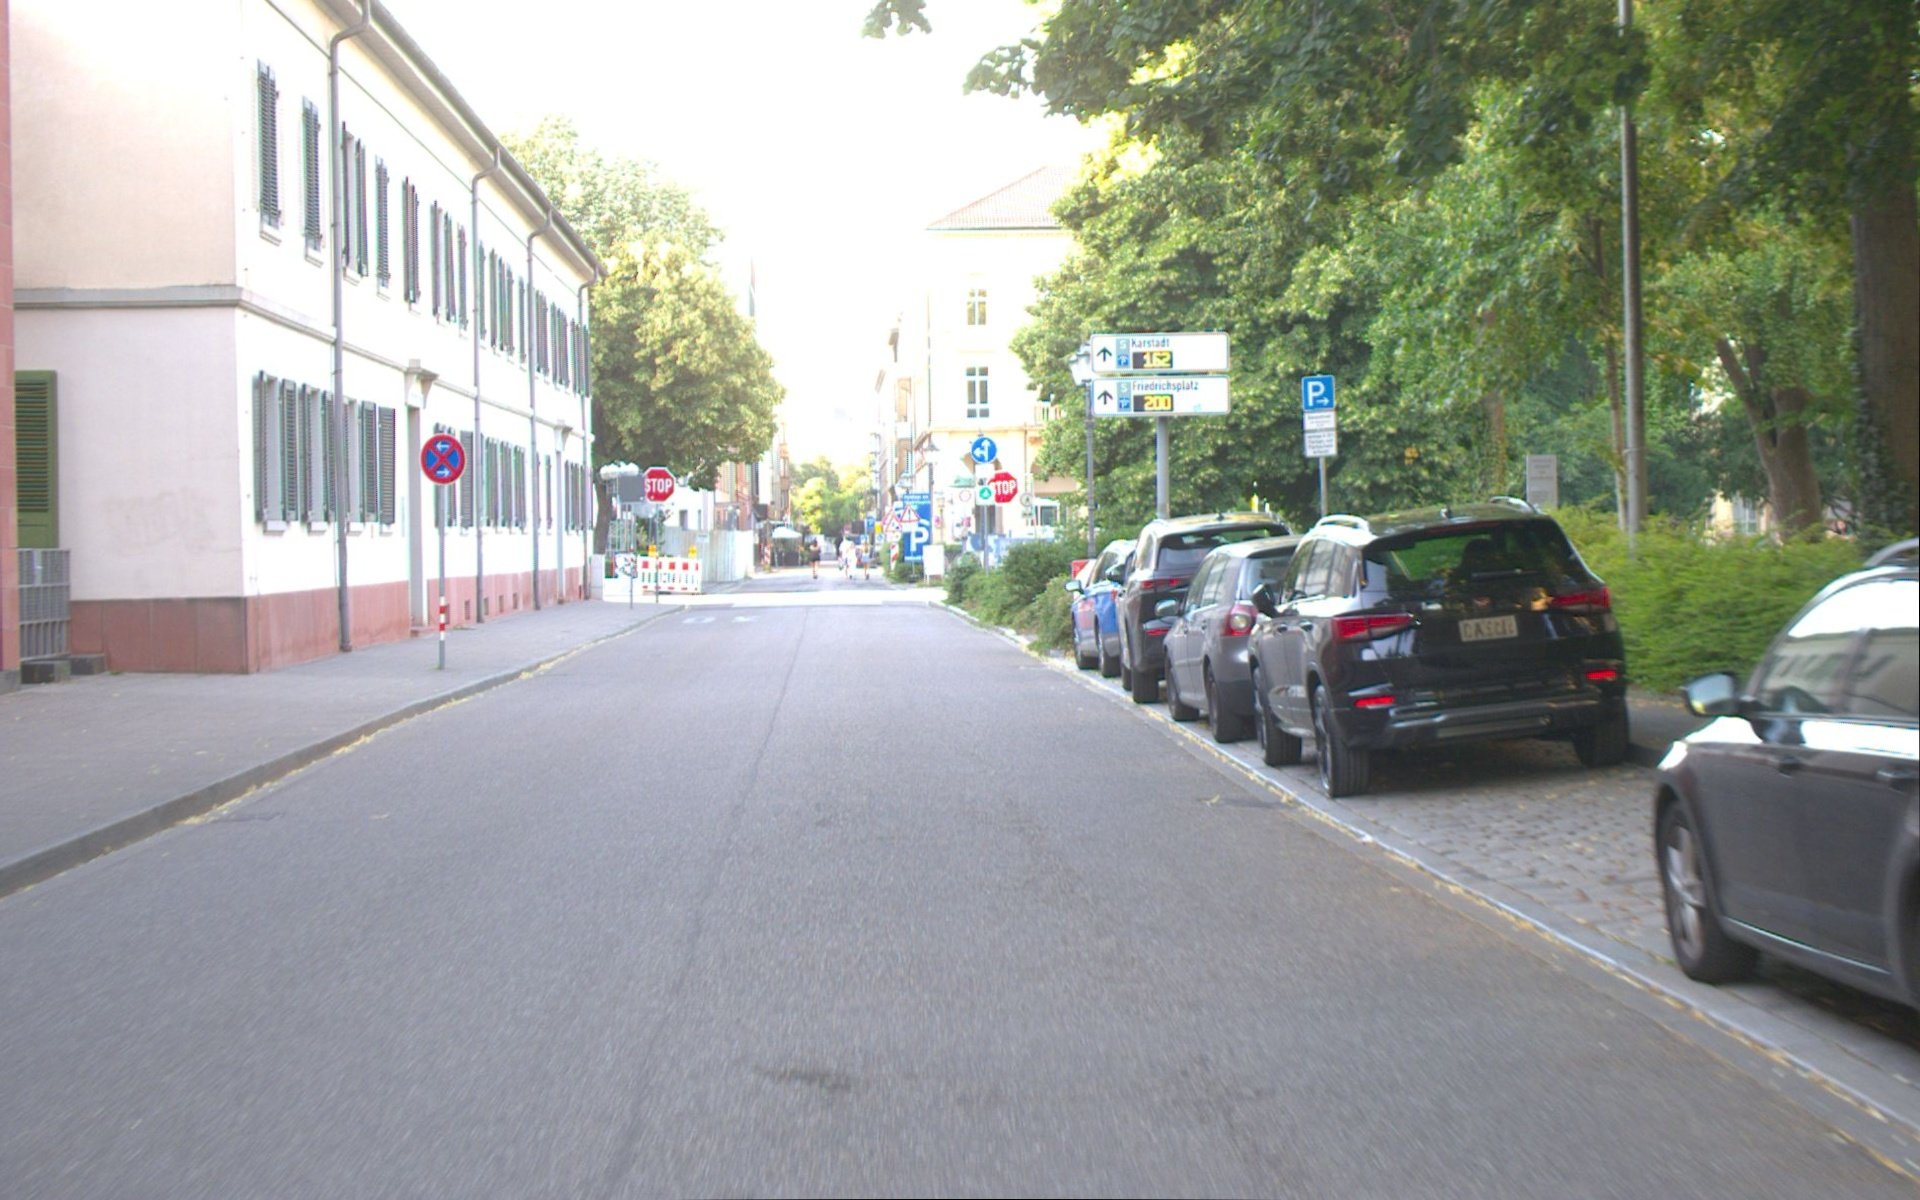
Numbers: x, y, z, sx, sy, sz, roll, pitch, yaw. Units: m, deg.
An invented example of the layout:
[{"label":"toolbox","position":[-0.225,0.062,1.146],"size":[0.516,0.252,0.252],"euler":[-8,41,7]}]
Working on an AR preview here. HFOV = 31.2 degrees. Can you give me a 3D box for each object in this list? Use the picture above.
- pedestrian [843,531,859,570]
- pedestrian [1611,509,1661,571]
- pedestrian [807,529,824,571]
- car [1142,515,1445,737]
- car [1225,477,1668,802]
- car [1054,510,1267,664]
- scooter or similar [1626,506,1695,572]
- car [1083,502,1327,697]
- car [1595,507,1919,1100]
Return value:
[{"label":"pedestrian","position":[-4.553,-2.086,143.878],"size":[0.657,1.611,0.745],"euler":[-1,1,-2]},{"label":"pedestrian","position":[13.178,-1.171,66.991],"size":[0.807,1.187,0.789],"euler":[-1,1,1]},{"label":"pedestrian","position":[-6.122,-2.109,145.504],"size":[0.657,1.754,0.745],"euler":[-1,1,-1]},{"label":"car","position":[2.479,0.168,26.517],"size":[1.724,1.533,4.190],"euler":[-1,1,-2]},{"label":"car","position":[2.874,0.155,21.287],"size":[1.807,1.645,4.419],"euler":[-5,2,-2]},{"label":"car","position":[2.171,-0.175,38.384],"size":[1.724,1.483,4.611],"euler":[-5,1,-3]},{"label":"scooter or similar","position":[13.472,-1.181,66.108],"size":[1.216,1.241,0.418],"euler":[-2,1,-18]},{"label":"car","position":[2.215,-0.026,32.237],"size":[1.724,1.646,4.713],"euler":[-1,1,-2]},{"label":"car","position":[3.231,0.484,9.946],"size":[1.734,1.501,4.523],"euler":[-1,1,-2]}]
